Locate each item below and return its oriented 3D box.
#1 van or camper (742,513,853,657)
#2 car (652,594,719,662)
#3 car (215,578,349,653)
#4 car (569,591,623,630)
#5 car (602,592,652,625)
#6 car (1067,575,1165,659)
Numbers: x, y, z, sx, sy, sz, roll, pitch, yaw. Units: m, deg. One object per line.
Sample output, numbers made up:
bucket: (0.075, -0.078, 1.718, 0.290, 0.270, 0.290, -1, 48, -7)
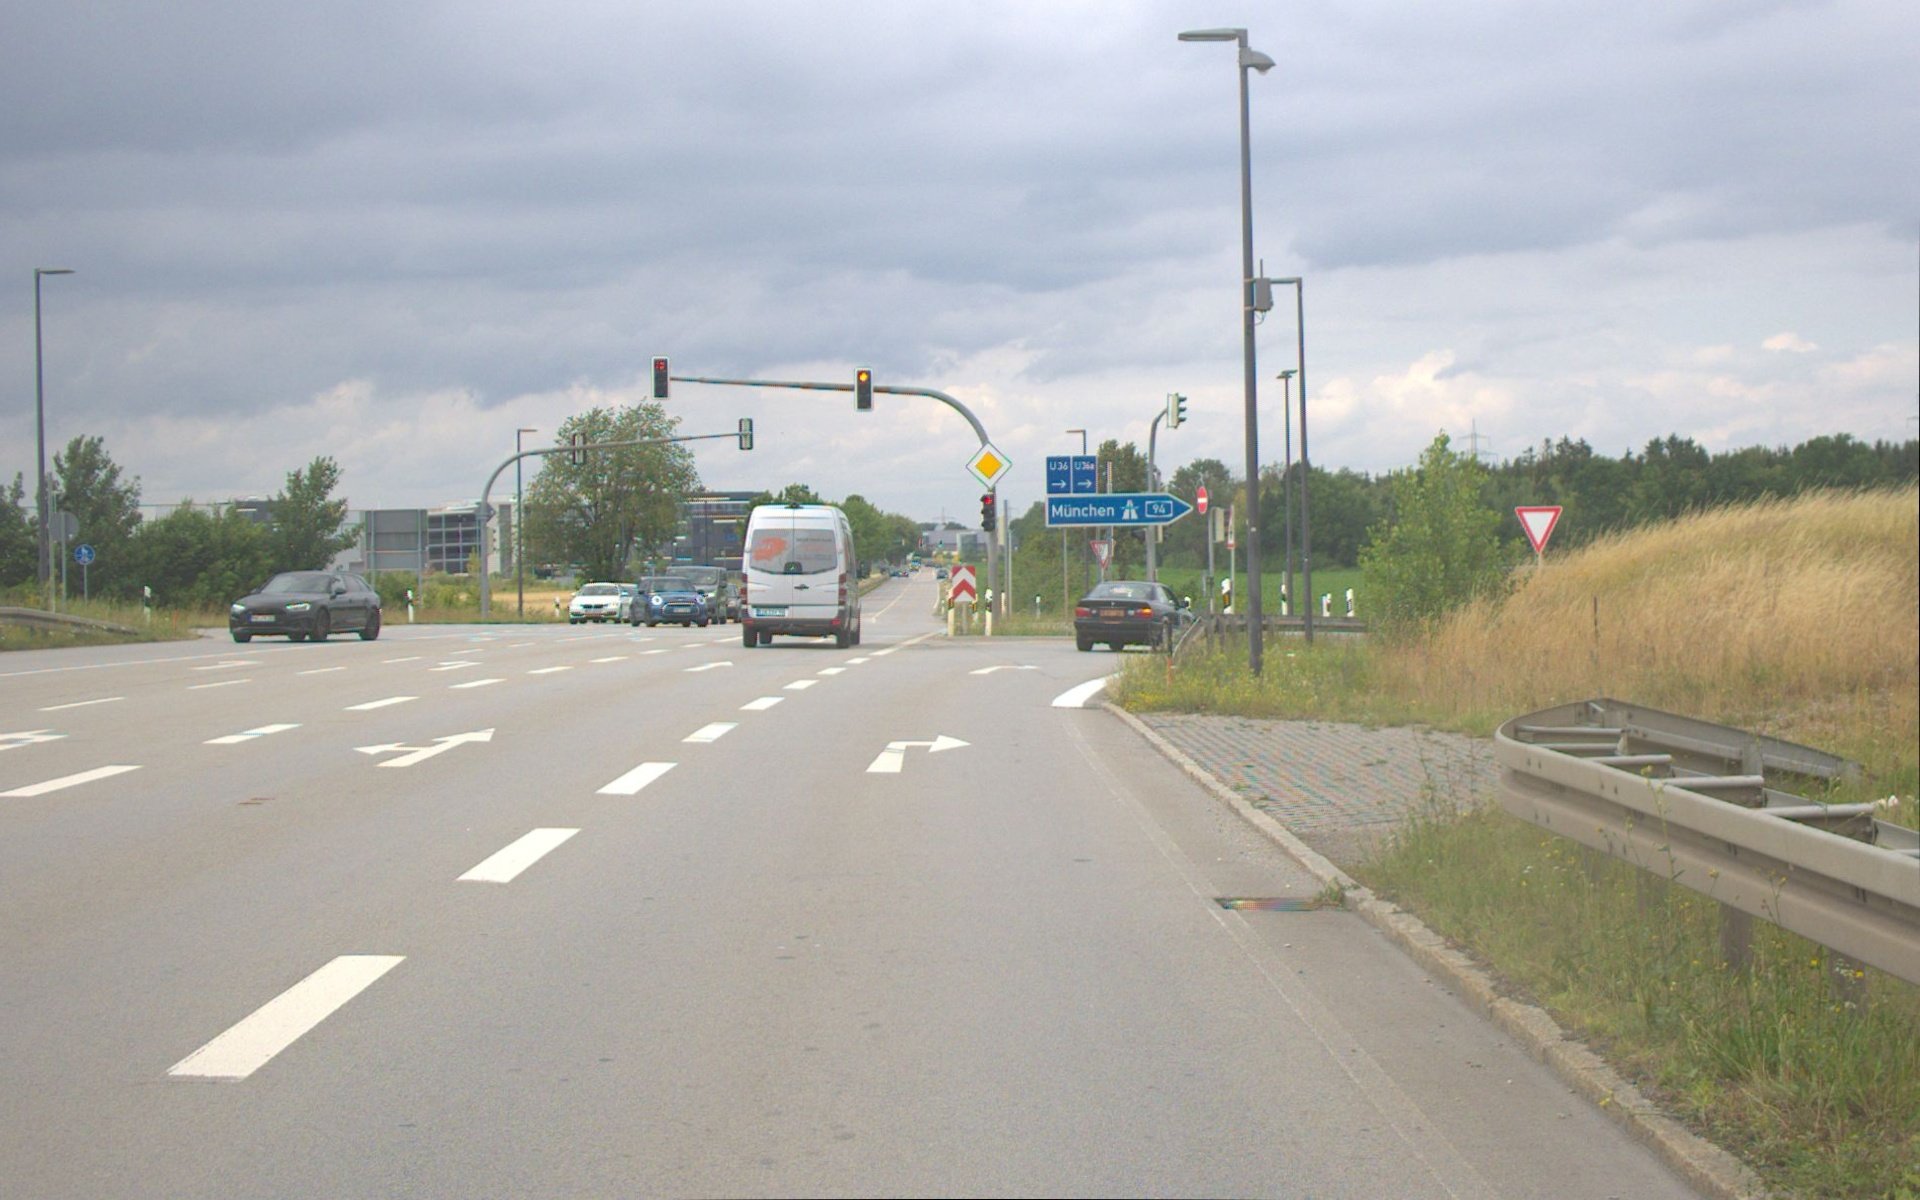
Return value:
van or camper: (-2.983, -0.292, 63.823, 1.876, 2.572, 4.000, 1, 1, 0)
car: (-7.869, 0.784, 98.229, 1.637, 1.846, 3.749, -1, 1, -8)
car: (-13.480, 0.302, 68.533, 1.844, 1.420, 3.909, -1, 0, 1)
car: (-12.745, 0.352, 120.467, 1.480, 1.278, 3.533, -1, 1, 1)
car: (-12.506, 0.315, 129.302, 1.480, 1.174, 3.533, -1, 1, 1)
car: (2.967, 0.300, 64.888, 1.518, 1.480, 3.614, -1, 1, 8)
